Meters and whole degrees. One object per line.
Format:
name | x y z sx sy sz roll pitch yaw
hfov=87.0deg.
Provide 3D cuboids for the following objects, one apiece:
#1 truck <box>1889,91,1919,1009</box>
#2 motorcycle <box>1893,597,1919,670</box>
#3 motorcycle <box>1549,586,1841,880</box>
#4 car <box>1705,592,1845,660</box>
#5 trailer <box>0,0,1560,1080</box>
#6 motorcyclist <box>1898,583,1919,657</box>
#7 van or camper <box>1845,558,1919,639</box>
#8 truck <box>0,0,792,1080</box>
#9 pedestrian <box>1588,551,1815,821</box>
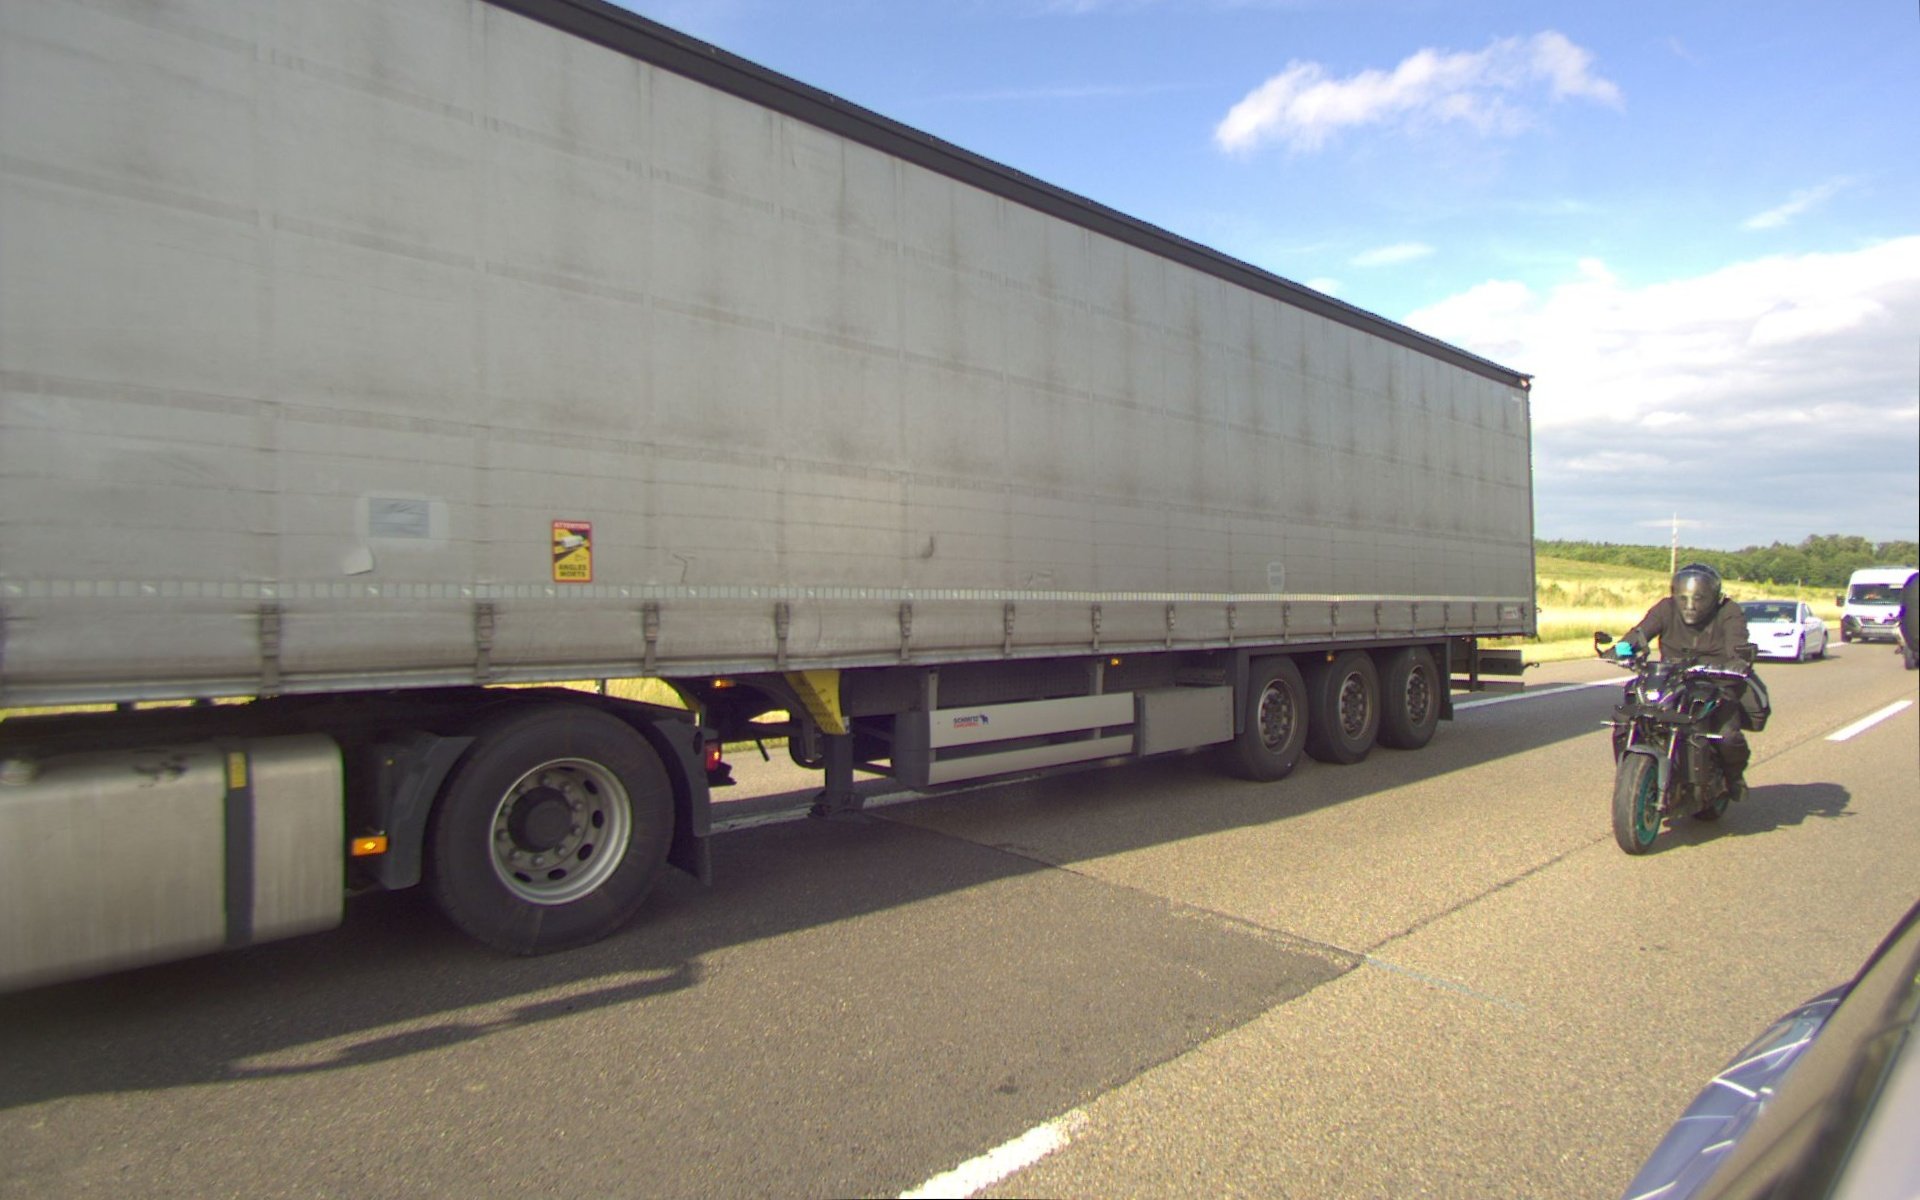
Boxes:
truck | 8.199 -0.143 6.299 10.970 3.199 2.499 0 0 -42
motorcycle | 20.604 0.684 21.524 2.230 1.474 0.897 -1 1 -41
motorcycle | 4.535 0.660 6.176 2.228 1.474 0.898 -1 1 -39
car | 19.635 0.551 24.320 4.384 1.435 1.870 -1 1 -41
trailer | 0.995 -0.685 8.124 13.462 4.091 2.621 0 1 -42
motorcyclist | 20.608 0.419 21.511 0.848 1.548 0.897 0 1 -41
van or camper | 32.205 -0.097 34.604 6.301 2.576 2.100 -1 1 -41
truck | -3.898 -0.651 3.756 6.014 4.091 2.605 0 1 -42
pedestrian | 4.521 0.456 6.175 0.966 1.474 0.898 0 1 -39
